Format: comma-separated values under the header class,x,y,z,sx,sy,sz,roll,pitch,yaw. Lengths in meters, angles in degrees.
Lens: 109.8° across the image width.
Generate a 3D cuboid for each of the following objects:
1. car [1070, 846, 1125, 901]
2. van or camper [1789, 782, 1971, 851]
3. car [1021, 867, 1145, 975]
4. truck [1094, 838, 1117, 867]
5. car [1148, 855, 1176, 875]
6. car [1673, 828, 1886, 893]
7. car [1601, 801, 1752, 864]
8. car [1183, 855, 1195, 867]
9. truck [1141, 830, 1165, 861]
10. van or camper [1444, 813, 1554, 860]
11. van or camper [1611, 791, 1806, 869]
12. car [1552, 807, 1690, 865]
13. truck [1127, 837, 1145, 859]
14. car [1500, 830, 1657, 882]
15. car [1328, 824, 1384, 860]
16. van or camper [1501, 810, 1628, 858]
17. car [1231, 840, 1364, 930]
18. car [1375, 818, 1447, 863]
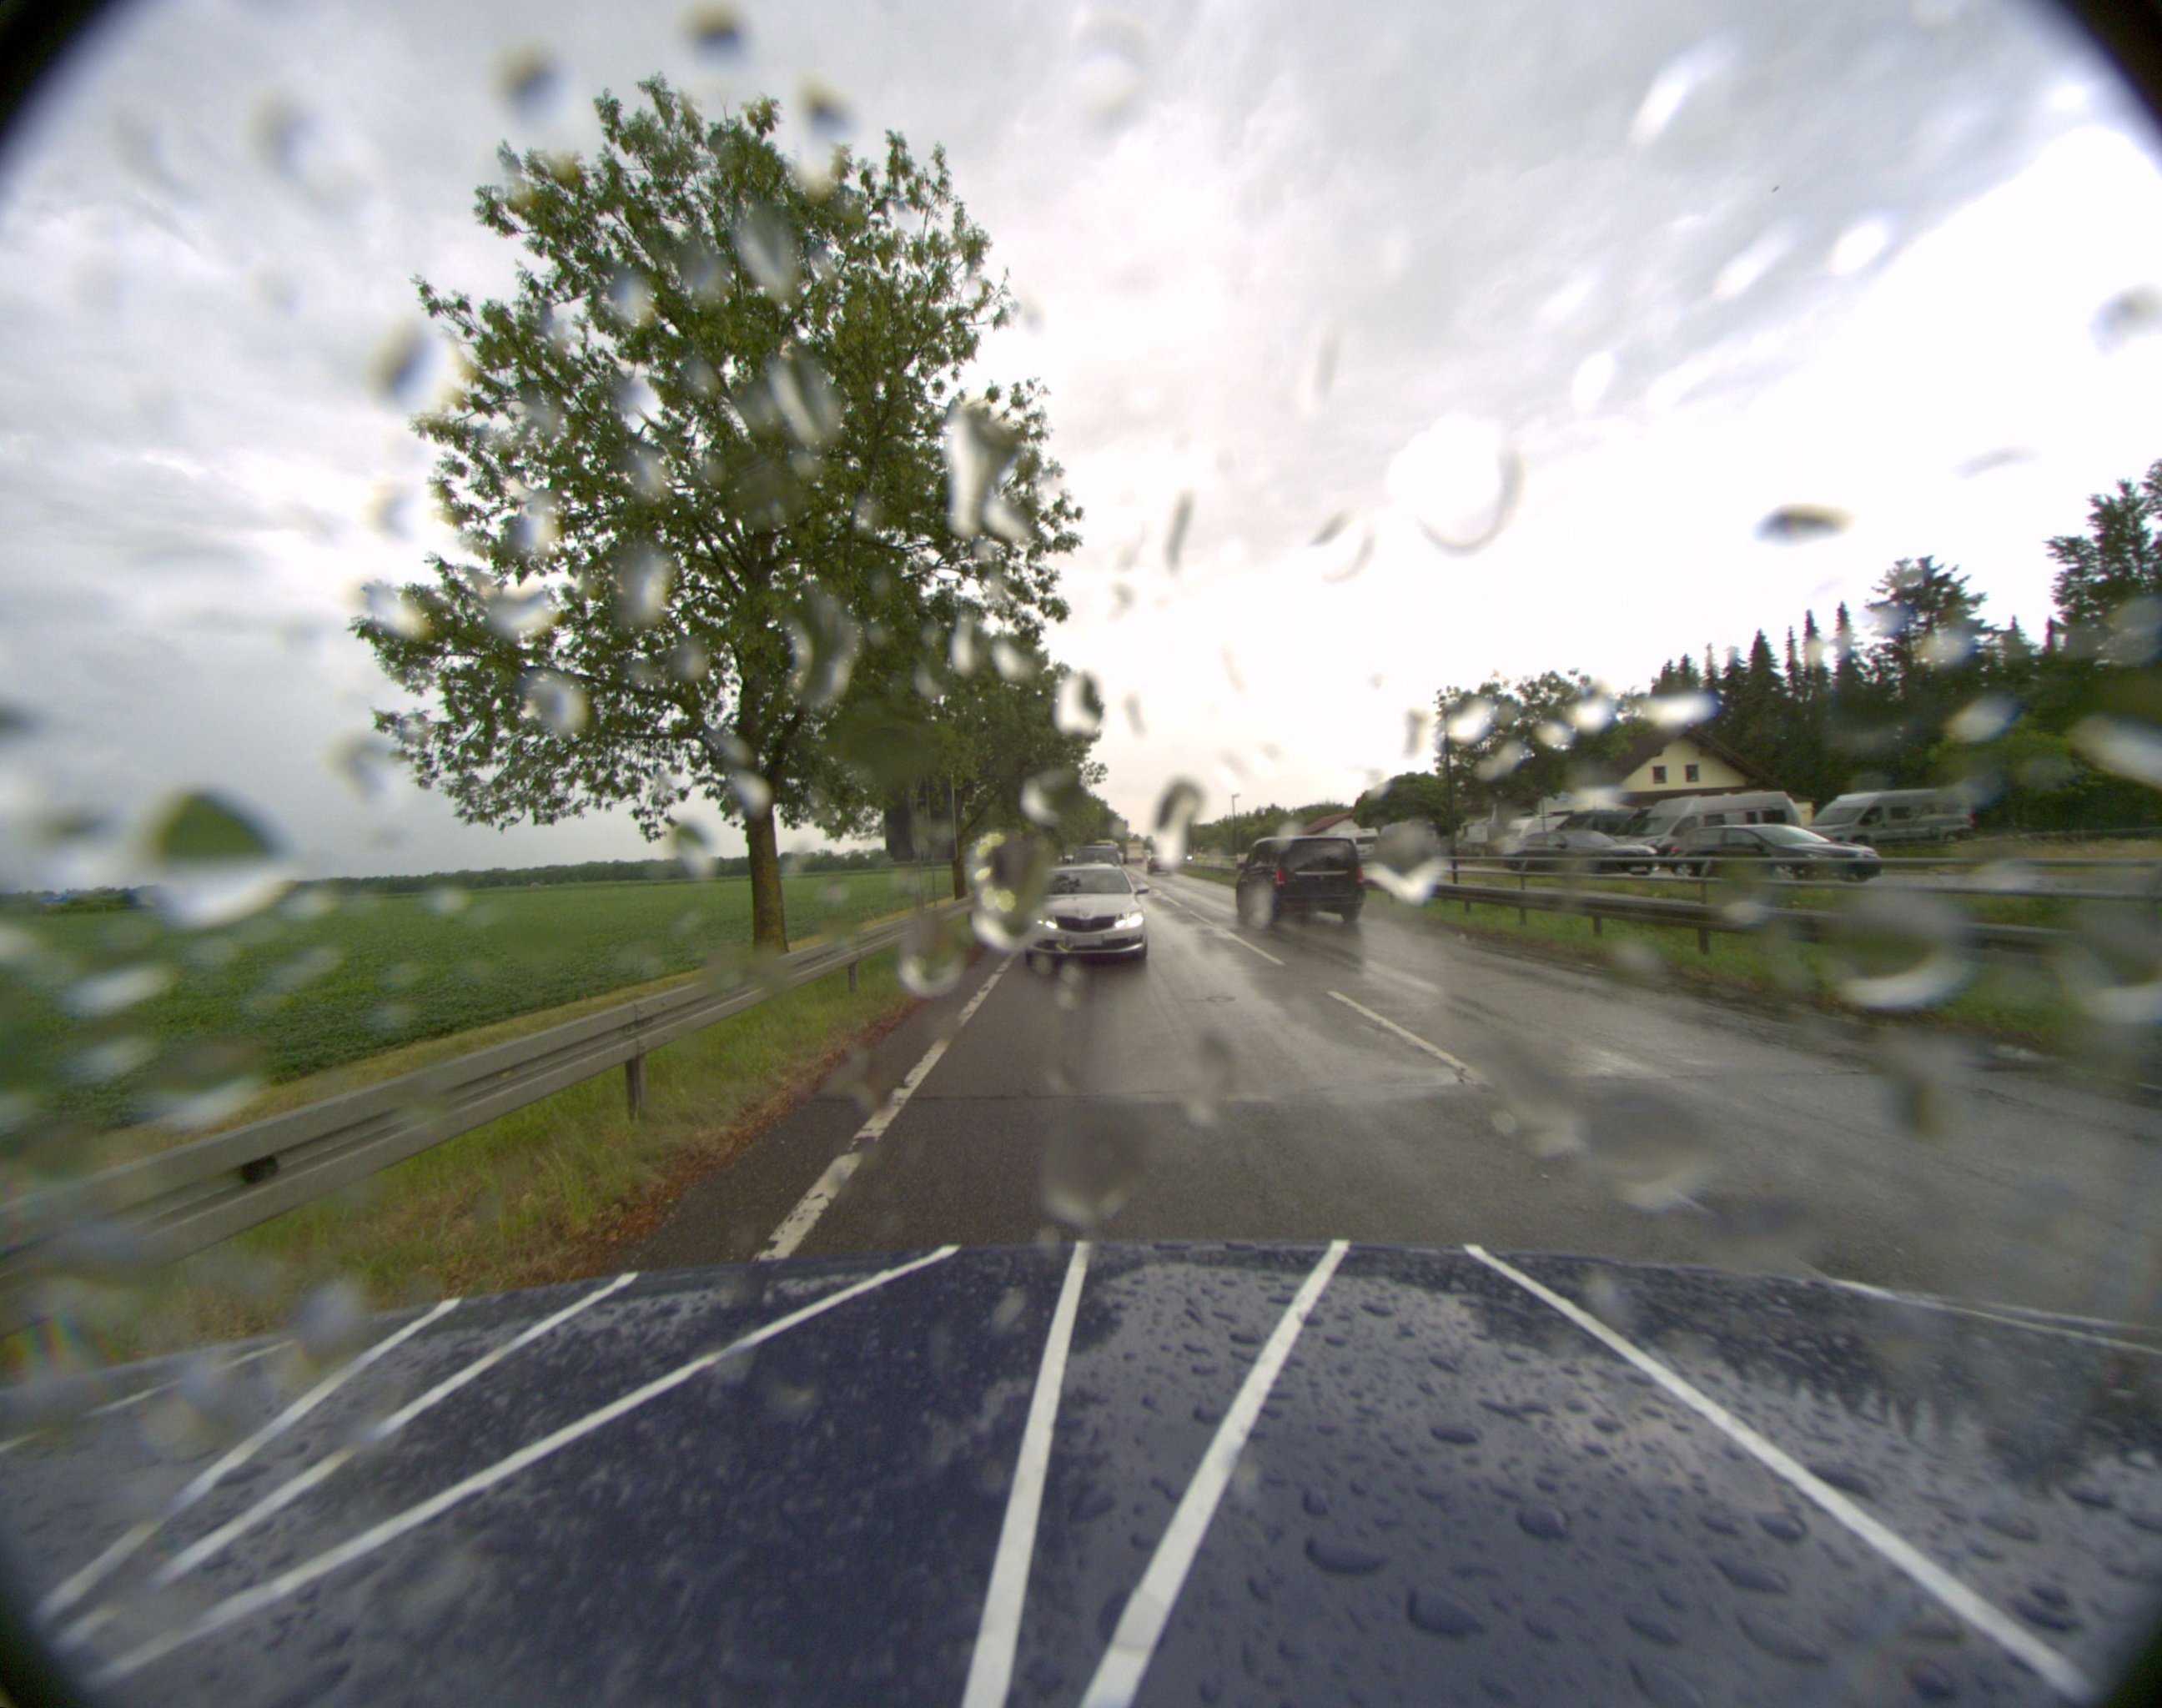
class,x,y,z,sx,sy,sz,roll,pitch,yaw
car,0.606,0.681,28.589,1.903,1.884,4.000,-1,0,1
van or camper,34.391,-1.575,32.817,5.820,2.575,2.000,-3,0,-2
car,0.055,0.969,12.607,1.705,1.438,4.000,-1,0,1
truck,3.332,-0.241,101.279,2.751,3.547,8.387,-3,0,2
car,6.183,0.801,58.524,1.718,1.442,4.111,-1,0,1
car,16.164,0.144,17.877,1.286,1.323,3.897,-1,0,-3
car,26.327,-0.910,33.716,5.105,2.444,2.000,-3,0,-1
car,19.799,1.256,139.319,1.683,2.002,4.000,-2,1,1
truck,12.280,-1.493,130.471,3.256,5.004,7.783,-3,0,0
van or camper,28.477,-1.156,51.888,6.068,2.785,2.434,-3,0,0
van or camper,24.638,-0.919,29.976,5.890,2.662,2.081,-3,0,0
car,26.068,-0.854,36.771,5.196,2.487,2.000,-3,0,-1
truck,8.798,-0.921,121.330,2.582,3.432,9.559,-1,0,4
car,15.756,0.071,24.463,1.519,1.482,5.121,-1,0,-2
car,21.799,-0.903,60.490,2.242,2.565,6.019,-3,0,1
van or camper,30.323,-1.231,47.786,6.239,2.576,2.562,-3,0,0
car,4.804,0.620,17.555,1.832,1.792,4.415,-1,0,1
car,22.047,-0.861,51.065,2.389,2.747,5.573,-3,0,1
